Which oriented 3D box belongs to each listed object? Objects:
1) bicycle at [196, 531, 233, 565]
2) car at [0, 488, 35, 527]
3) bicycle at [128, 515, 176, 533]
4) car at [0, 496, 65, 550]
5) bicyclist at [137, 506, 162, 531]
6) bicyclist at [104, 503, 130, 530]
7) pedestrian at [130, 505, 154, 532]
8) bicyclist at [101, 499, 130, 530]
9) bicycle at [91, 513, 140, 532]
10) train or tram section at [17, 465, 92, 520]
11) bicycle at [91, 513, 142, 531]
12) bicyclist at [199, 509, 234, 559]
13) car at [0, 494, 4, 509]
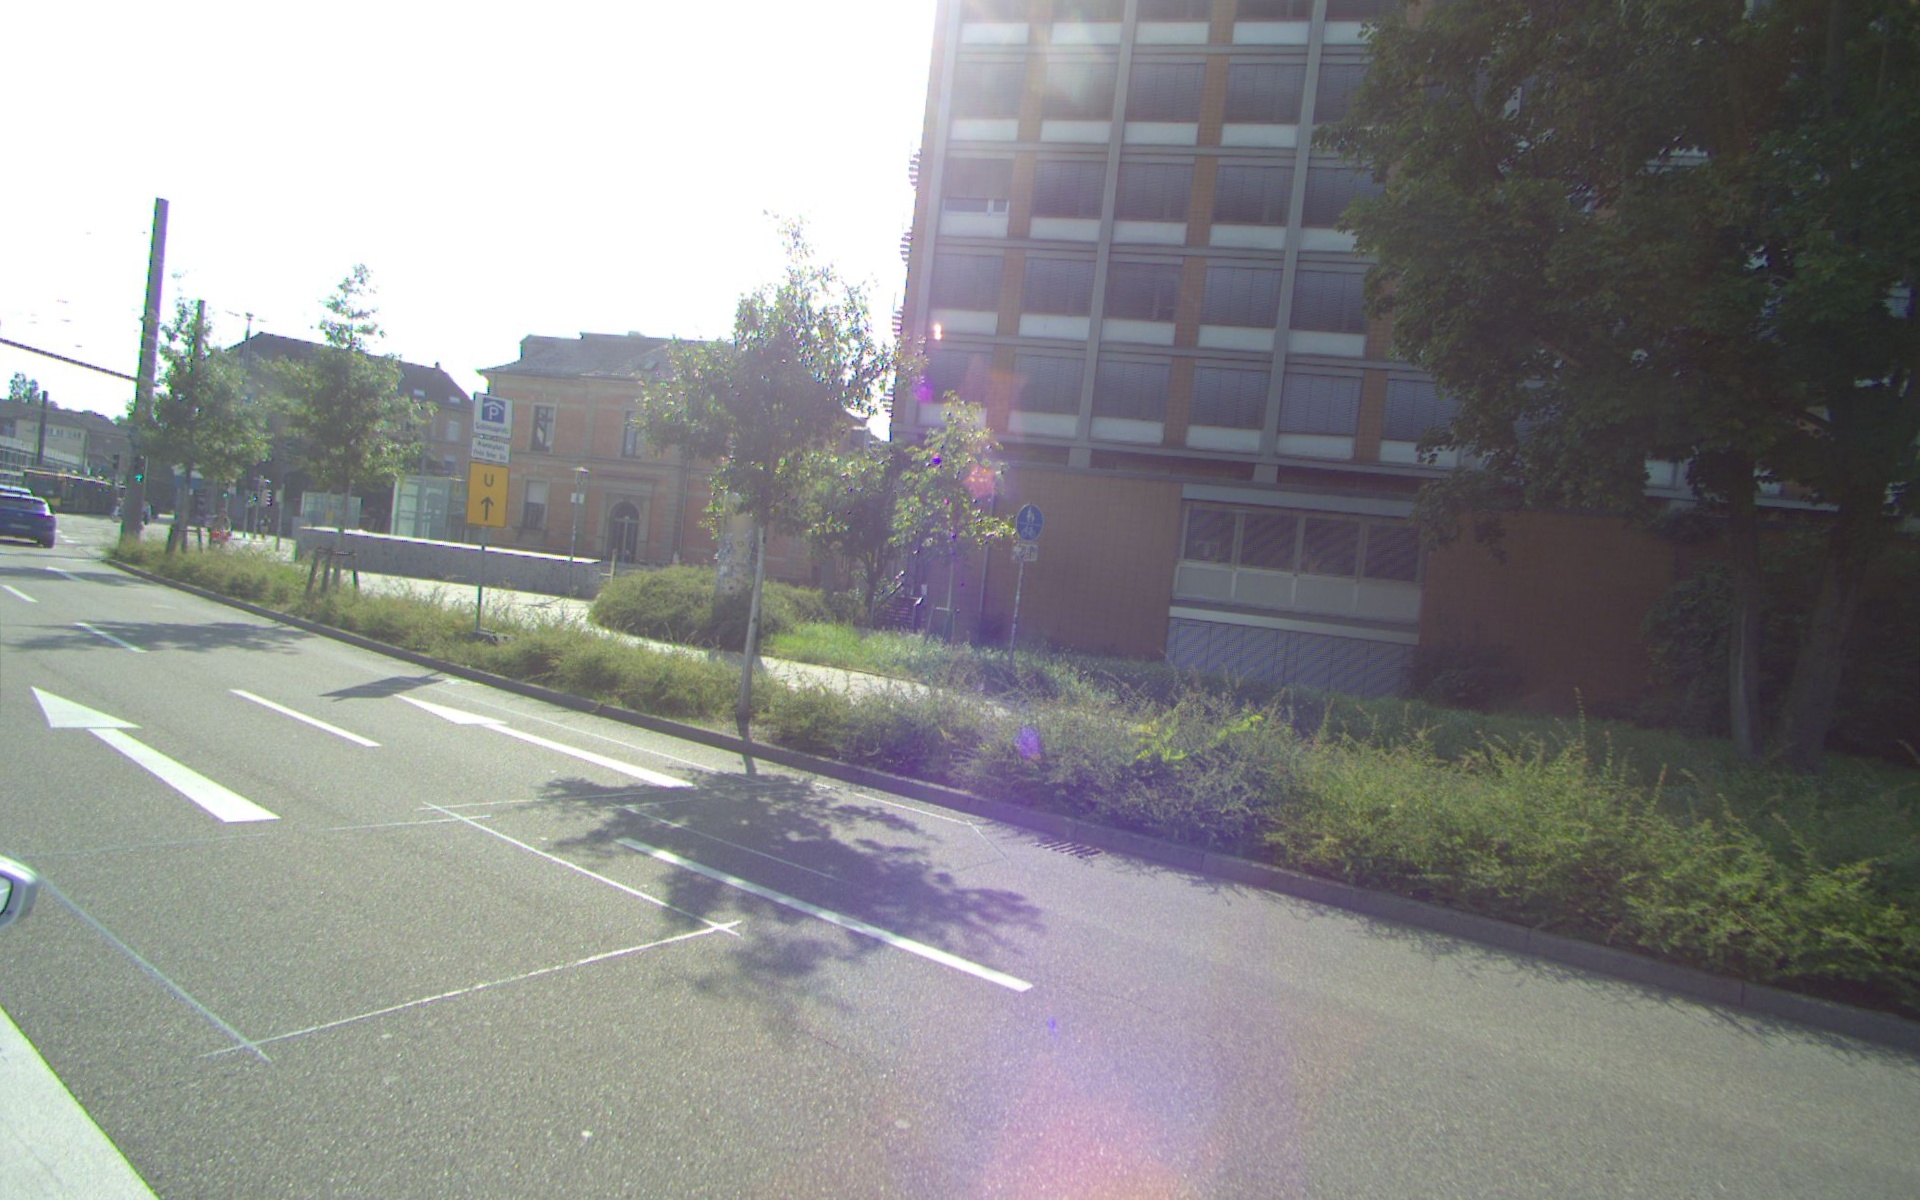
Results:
[{"bbox_3d":[-24.972,-1.753,33.704,0.717,0.972,1.898,6,1,-44],"label":"bicycle"},{"bbox_3d":[-40.518,-4.000,42.620,1.820,1.446,4.357,6,1,-44],"label":"car"},{"bbox_3d":[-61.439,-5.792,76.490,1.072,0.976,2.627,7,0,17],"label":"bicycle"},{"bbox_3d":[-30.283,-2.529,32.562,1.819,1.446,4.358,6,1,-43],"label":"car"},{"bbox_3d":[-61.448,-6.169,76.294,1.072,1.701,0.937,7,1,17],"label":"bicyclist"},{"bbox_3d":[-61.751,-6.124,73.694,1.072,1.822,0.937,7,1,17],"label":"bicyclist"},{"bbox_3d":[-60.140,-5.965,73.998,0.844,1.820,0.927,6,1,0],"label":"pedestrian"},{"bbox_3d":[-60.322,-6.092,71.885,1.072,2.050,0.937,7,1,4],"label":"bicyclist"},{"bbox_3d":[-60.376,-5.543,71.940,1.072,0.976,2.627,7,0,4],"label":"bicycle"},{"bbox_3d":[-72.026,-8.403,80.236,2.637,3.746,10.493,6,1,-33],"label":"train or tram section"},{"bbox_3d":[-61.796,-5.700,73.719,1.072,0.976,2.627,7,0,17],"label":"bicycle"},{"bbox_3d":[-24.856,-2.212,33.628,0.717,1.532,0.992,5,1,-44],"label":"bicyclist"},{"bbox_3d":[-98.344,-10.071,101.717,1.602,1.495,3.965,4,1,-33],"label":"car"}]
